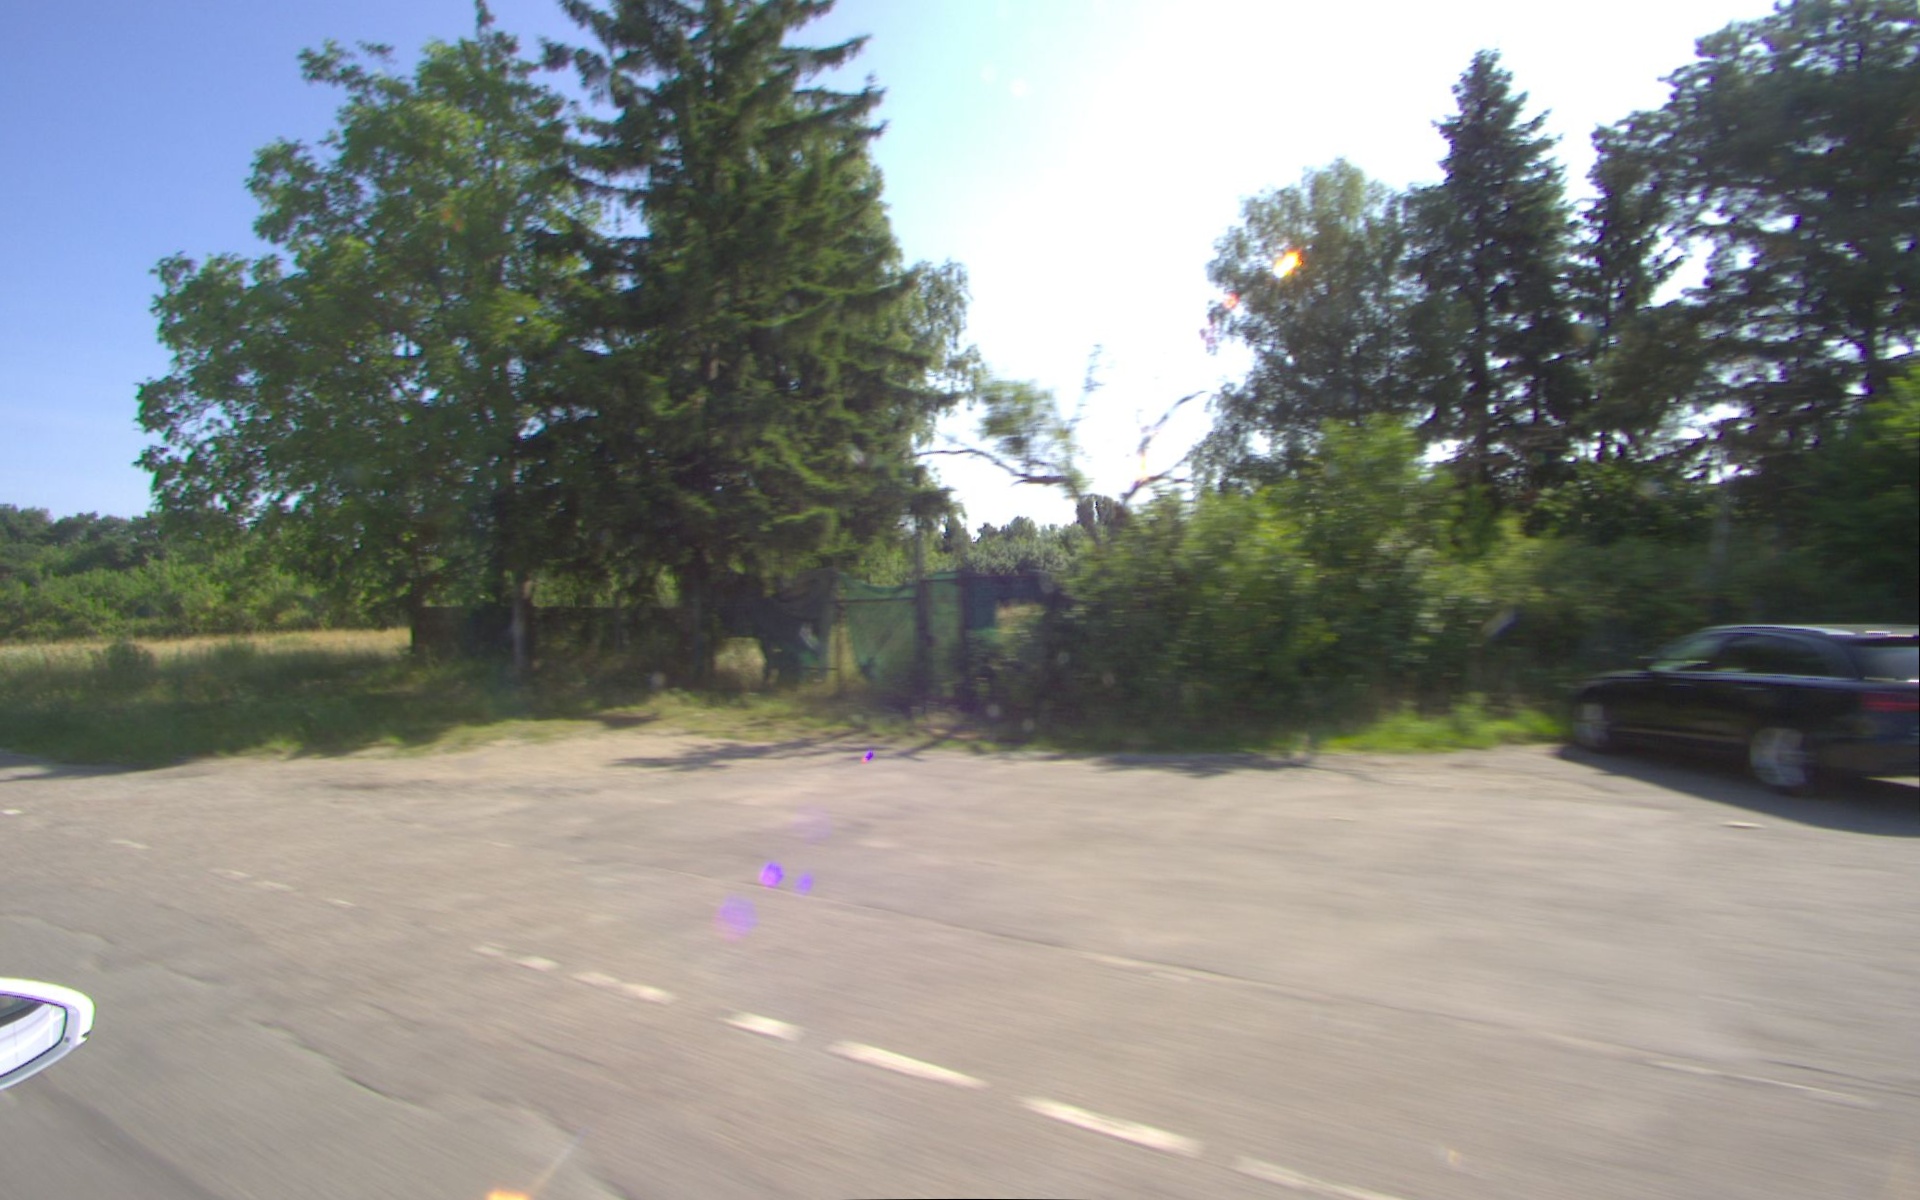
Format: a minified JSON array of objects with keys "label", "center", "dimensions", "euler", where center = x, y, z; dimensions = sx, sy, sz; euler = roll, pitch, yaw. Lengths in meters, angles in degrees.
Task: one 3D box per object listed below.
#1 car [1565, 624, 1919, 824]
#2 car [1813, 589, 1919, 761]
[{"label":"car","center":[7.942,0.983,9.700],"dimensions":[1.682,1.449,4.464],"euler":[0,-1,4]},{"label":"car","center":[11.095,0.787,9.831],"dimensions":[1.828,1.827,4.464],"euler":[0,-1,4]}]
